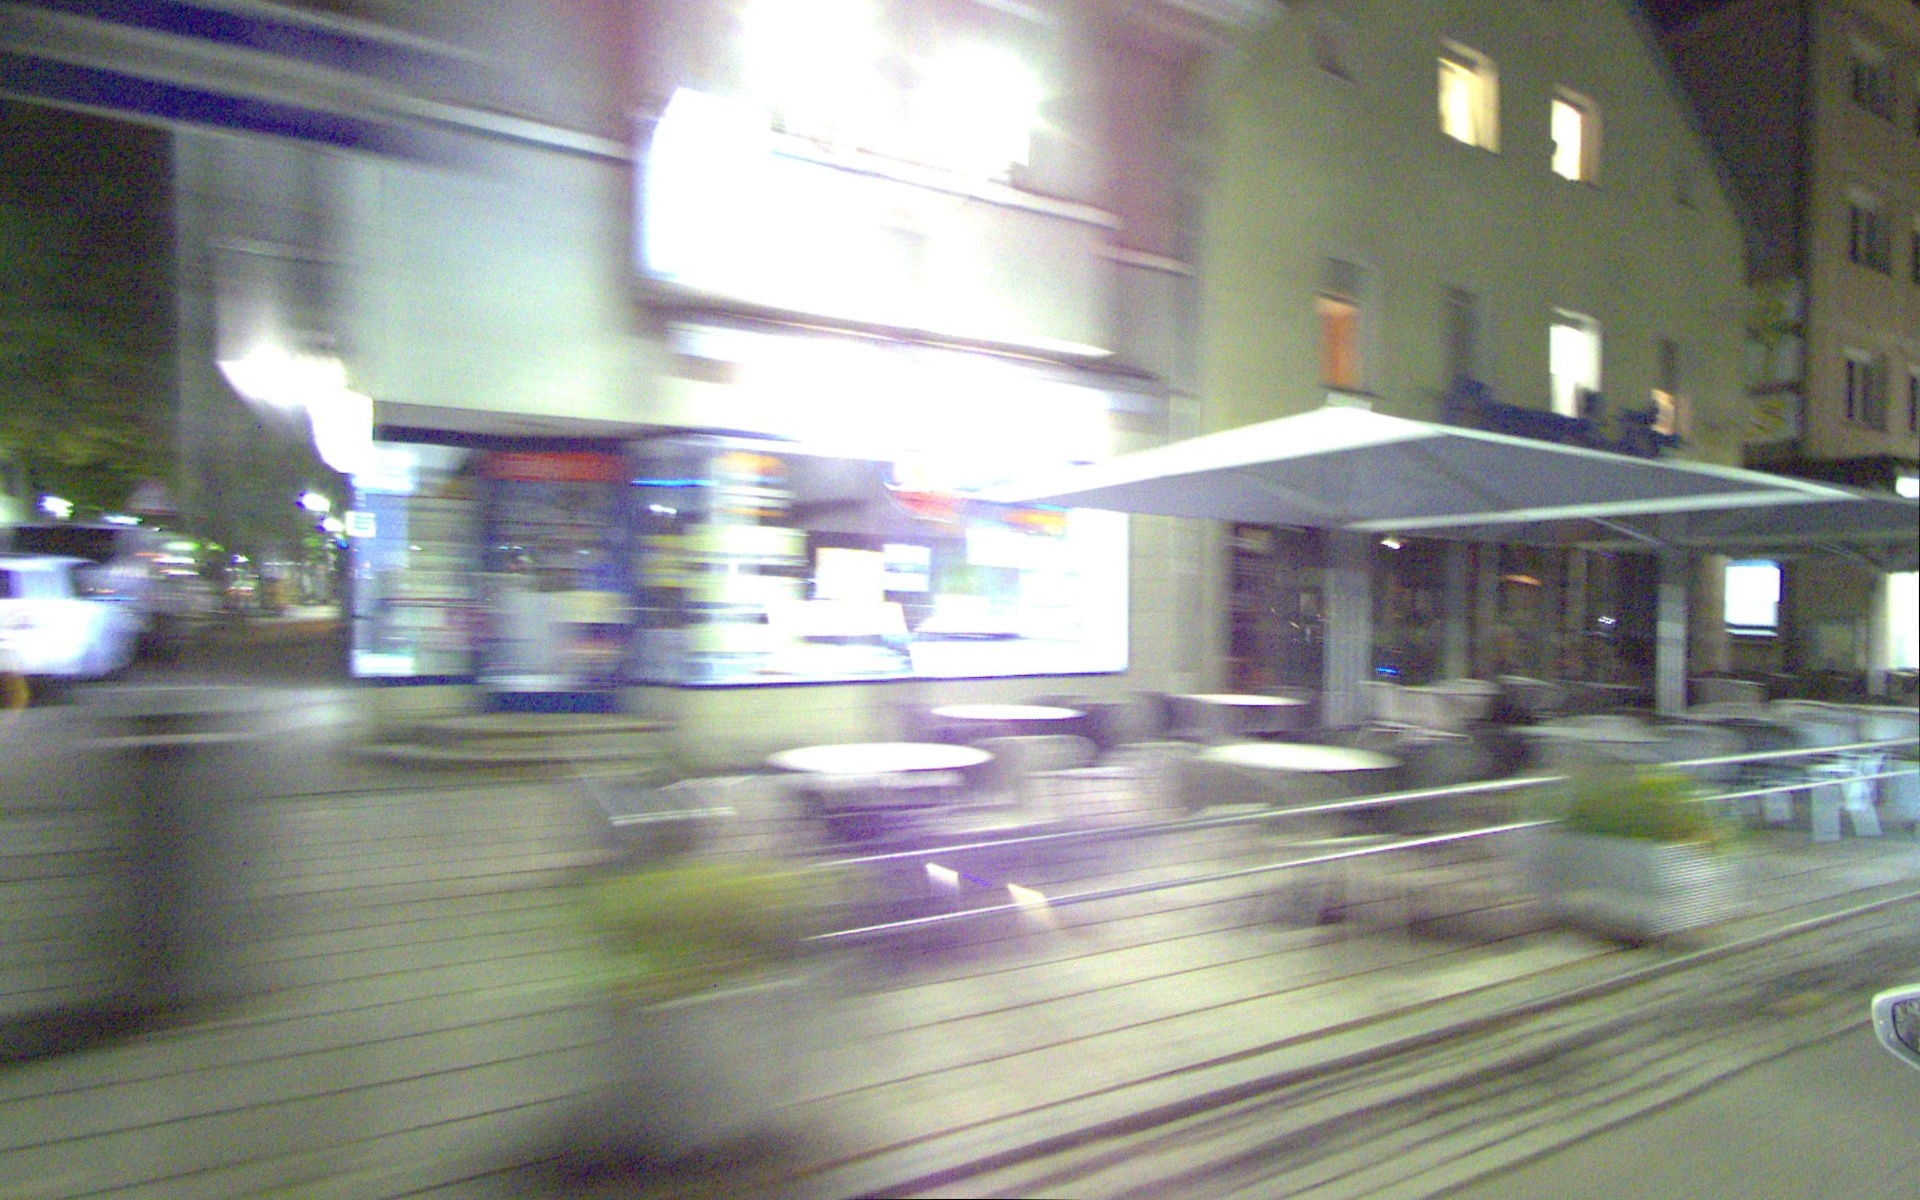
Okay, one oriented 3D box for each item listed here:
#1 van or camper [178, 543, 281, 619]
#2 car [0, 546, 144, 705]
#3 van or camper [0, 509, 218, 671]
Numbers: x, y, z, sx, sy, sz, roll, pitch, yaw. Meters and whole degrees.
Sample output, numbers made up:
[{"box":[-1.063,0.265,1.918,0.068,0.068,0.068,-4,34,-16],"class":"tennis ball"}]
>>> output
[{"box":[-22.233,-0.586,30.723,2.066,2.156,4.092,-1,2,-30],"class":"van or camper"},{"box":[-10.493,0.223,11.112,1.778,1.541,3.580,-1,2,-32],"class":"car"},{"box":[-13.059,-0.236,15.516,2.066,2.157,4.092,-1,3,-30],"class":"van or camper"}]
